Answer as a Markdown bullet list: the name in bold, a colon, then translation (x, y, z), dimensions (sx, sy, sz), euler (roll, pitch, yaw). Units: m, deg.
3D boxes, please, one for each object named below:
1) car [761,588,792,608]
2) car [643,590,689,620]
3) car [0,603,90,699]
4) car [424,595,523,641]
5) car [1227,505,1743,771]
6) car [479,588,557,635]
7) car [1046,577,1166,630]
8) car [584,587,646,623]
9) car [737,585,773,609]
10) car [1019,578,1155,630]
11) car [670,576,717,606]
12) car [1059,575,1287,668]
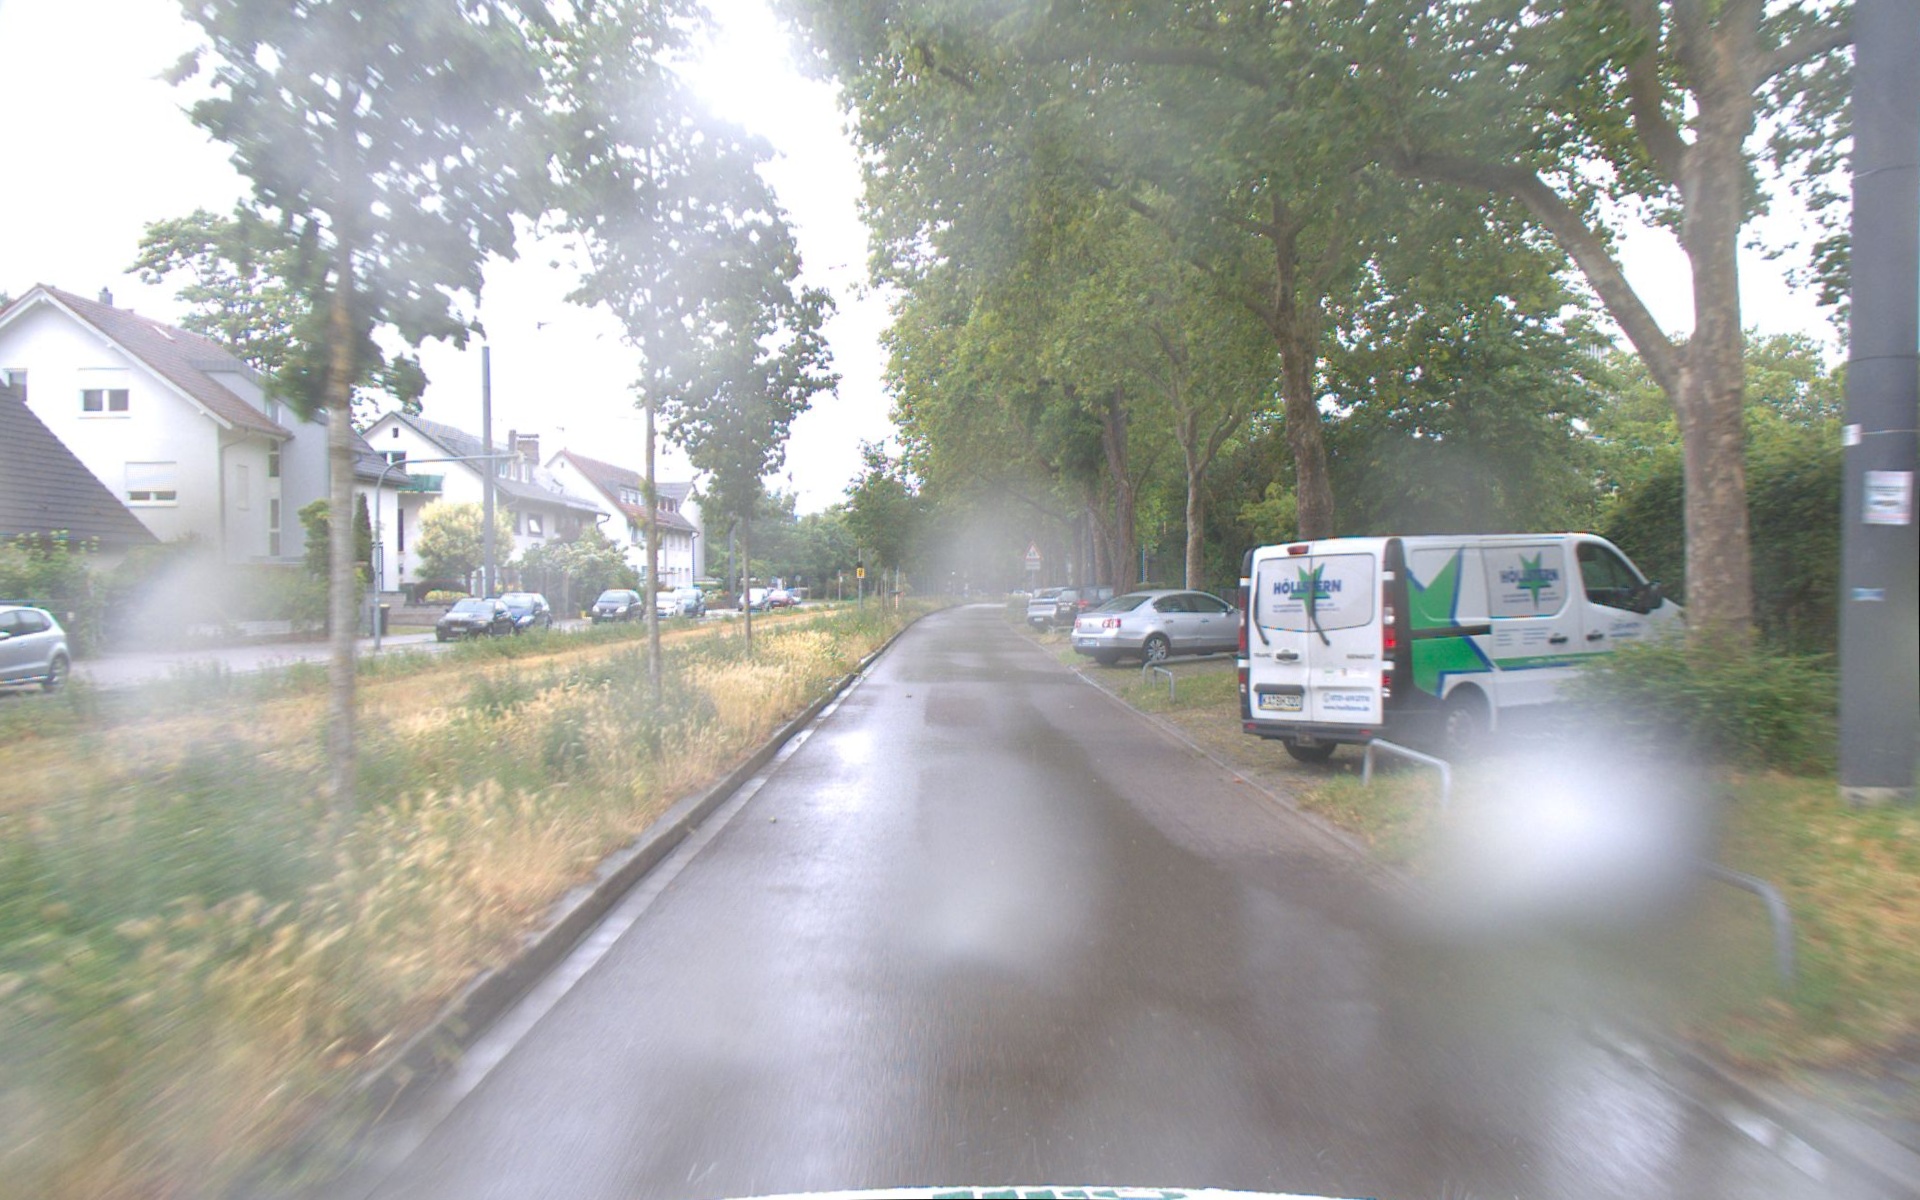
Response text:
- **car**: translation (-14.839, -0.184, 133.785), dimensions (1.952, 1.514, 4.206), euler (1, 1, 1)
- **car**: translation (-15.827, 0.276, 89.235), dimensions (1.759, 1.514, 3.597), euler (1, 1, 1)
- **car**: translation (-16.034, 0.808, 26.651), dimensions (1.953, 1.435, 3.971), euler (1, 1, -1)
- **car**: translation (-16.167, 0.582, 55.154), dimensions (1.952, 1.374, 4.241), euler (1, 1, 1)
- **car**: translation (4.958, 0.211, 15.282), dimensions (4.974, 2.048, 1.975), euler (-3, 2, -36)
- **car**: translation (-16.070, 0.395, 60.304), dimensions (1.835, 1.577, 3.870), euler (1, 1, -1)
- **car**: translation (4.749, 0.101, 53.617), dimensions (3.668, 1.593, 1.601), euler (-2, 1, -33)
- **car**: translation (-16.130, 0.202, 77.468), dimensions (1.952, 1.542, 4.206), euler (1, 1, 1)
- **car**: translation (-14.863, -0.242, 120.042), dimensions (1.952, 1.608, 4.517), euler (1, 1, 1)
- **car**: translation (4.556, 0.131, 59.108), dimensions (4.725, 1.697, 1.969), euler (-2, 1, -37)
- **car**: translation (-15.728, -0.547, 97.734), dimensions (1.952, 1.642, 4.414), euler (1, 1, 1)
- **car**: translation (4.418, 0.394, 34.121), dimensions (4.505, 1.571, 1.866), euler (-4, 2, -33)
